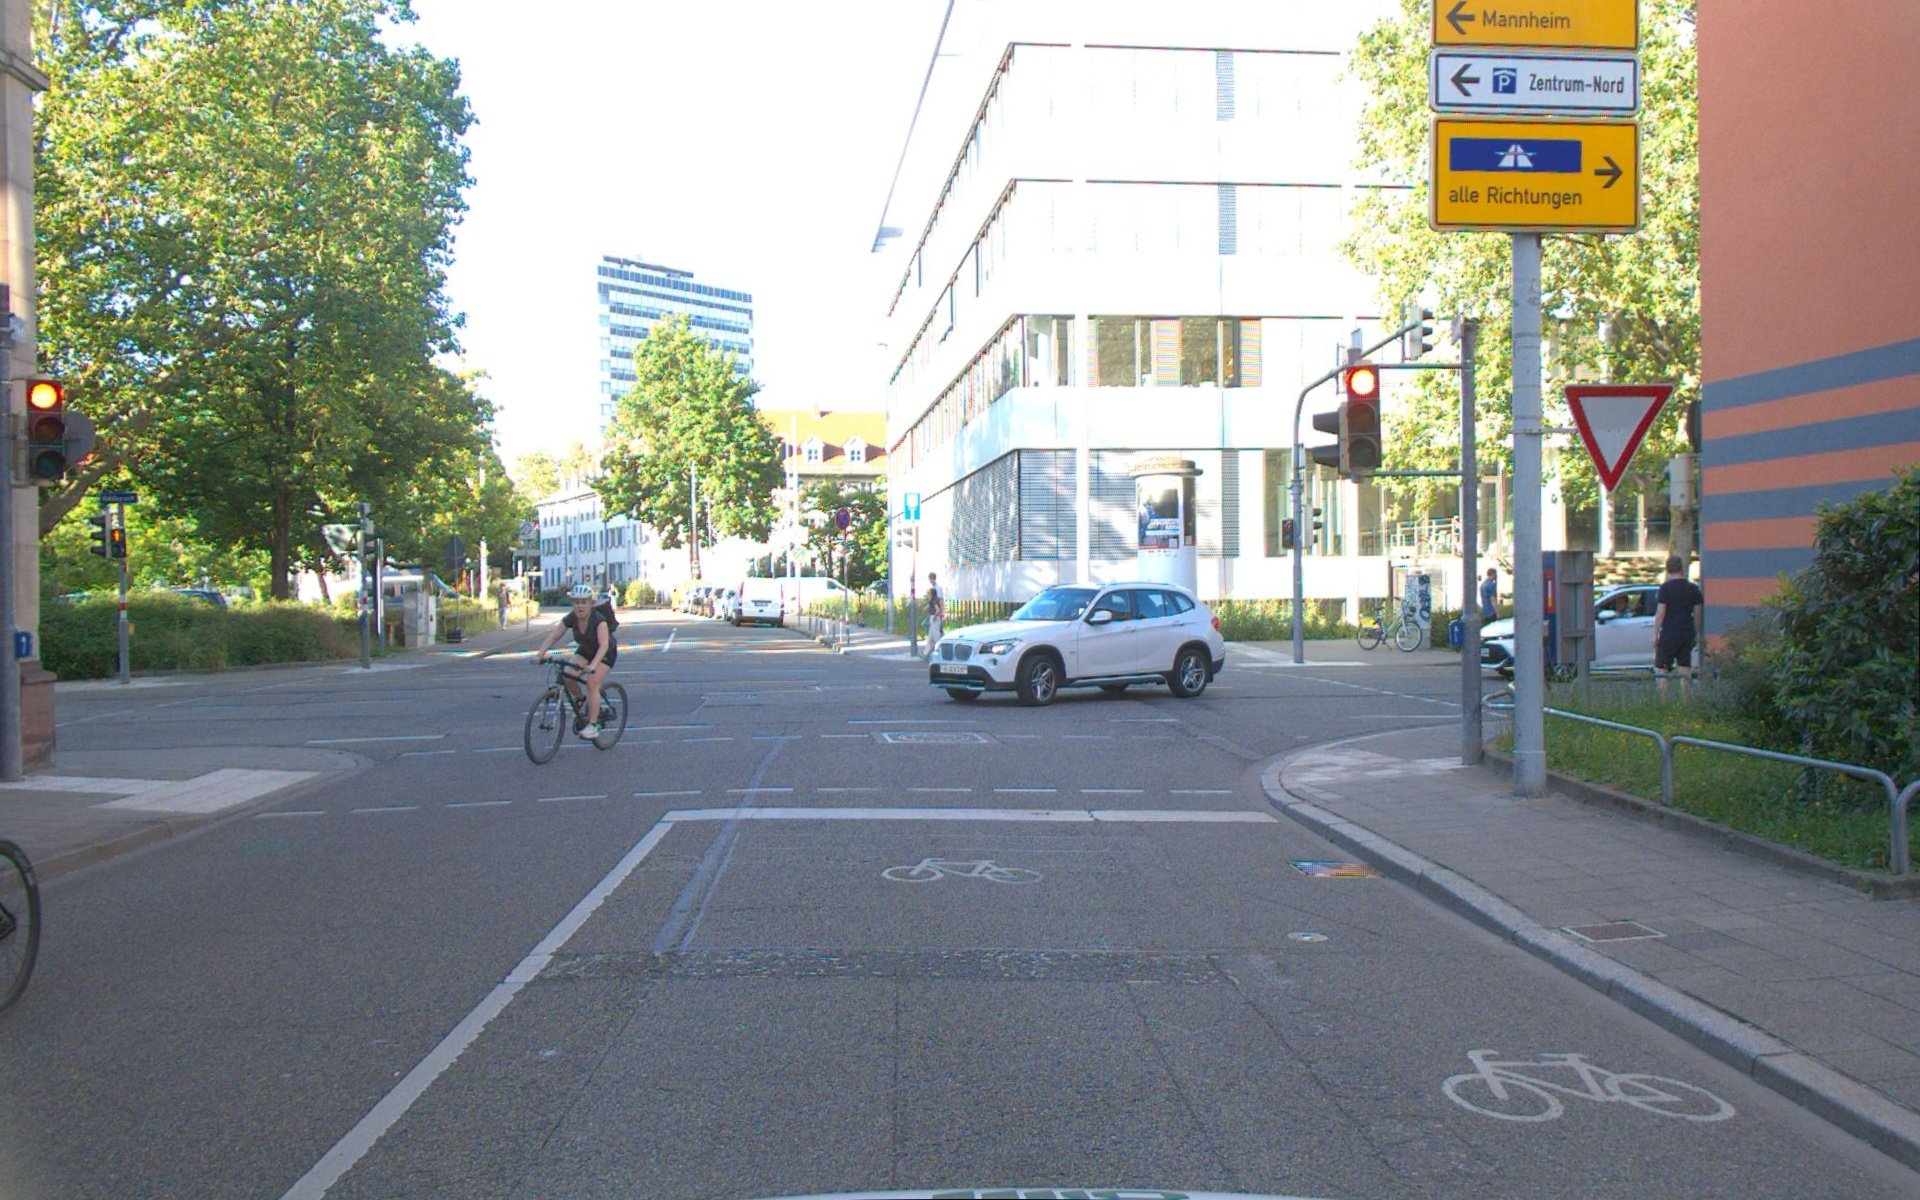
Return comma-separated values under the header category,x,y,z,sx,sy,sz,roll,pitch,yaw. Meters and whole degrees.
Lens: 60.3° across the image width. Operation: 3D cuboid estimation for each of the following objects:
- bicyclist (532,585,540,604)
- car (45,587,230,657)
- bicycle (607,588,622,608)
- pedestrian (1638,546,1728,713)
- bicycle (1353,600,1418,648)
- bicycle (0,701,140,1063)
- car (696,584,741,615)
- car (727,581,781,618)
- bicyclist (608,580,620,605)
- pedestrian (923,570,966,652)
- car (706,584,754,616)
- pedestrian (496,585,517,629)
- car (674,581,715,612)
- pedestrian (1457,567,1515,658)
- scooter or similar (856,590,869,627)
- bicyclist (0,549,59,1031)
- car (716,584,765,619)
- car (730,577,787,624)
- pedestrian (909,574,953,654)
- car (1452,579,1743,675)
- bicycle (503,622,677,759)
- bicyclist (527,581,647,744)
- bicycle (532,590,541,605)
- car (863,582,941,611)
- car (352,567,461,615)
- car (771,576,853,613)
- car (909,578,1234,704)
category,x,y,z,sx,sy,sz,roll,pitch,yaw
bicyclist,-33.874,-0.458,132.237,0.604,1.498,0.738,-1,0,-13
car,-18.367,0.488,37.072,3.347,1.483,1.646,1,0,-11
bicycle,-19.778,-0.124,94.695,0.579,1.172,1.967,-1,0,-6
pedestrian,8.181,0.329,18.726,0.713,1.842,0.691,1,-1,-42
bicycle,9.322,0.516,36.290,0.376,1.026,1.410,-1,0,-42
bicycle,-3.630,1.011,5.881,0.613,1.172,1.783,-1,0,-3
car,-12.551,-0.039,85.797,1.959,1.525,4.637,1,0,-13
car,-8.869,-0.009,70.910,1.958,1.525,4.639,1,0,-11
bicyclist,-19.775,-0.409,94.542,0.579,1.421,0.746,-1,0,-6
pedestrian,-0.359,0.250,37.439,0.749,1.826,0.647,1,-1,23
car,-11.308,0.003,81.092,1.959,1.525,4.272,1,0,-13
pedestrian,-16.708,0.248,60.947,0.688,1.614,0.634,1,-1,-16
car,-15.384,-0.198,95.613,1.960,1.755,4.635,1,0,-14
pedestrian,10.836,0.259,34.094,0.897,1.847,0.760,1,-1,-9
scooter or similar,-3.429,0.276,58.244,0.429,1.278,1.418,-1,0,-5
bicyclist,-3.616,0.656,5.666,0.613,1.657,0.825,-1,0,-3
car,-10.195,0.070,76.660,1.958,1.525,4.639,1,0,-11
car,-7.917,0.025,64.710,1.957,1.755,4.641,1,0,-10
pedestrian,-0.633,0.300,36.632,0.749,1.749,0.647,1,-1,23
car,9.960,0.390,25.944,4.005,1.445,1.714,0,0,-12
bicycle,-3.458,0.815,15.617,0.613,1.172,1.782,-1,0,26
bicyclist,-3.499,0.560,15.549,0.613,1.471,0.973,-1,0,26
bicycle,-33.845,-0.181,132.176,0.604,1.172,1.963,-1,0,-13
car,-3.675,-0.217,104.731,4.563,1.755,1.991,1,0,-17
car,-24.963,-0.381,74.690,4.363,2.049,1.995,1,0,-10
car,-9.200,-0.334,102.805,4.718,2.196,1.990,1,0,-18
car,1.558,0.480,22.208,4.323,1.541,1.696,0,1,-37
